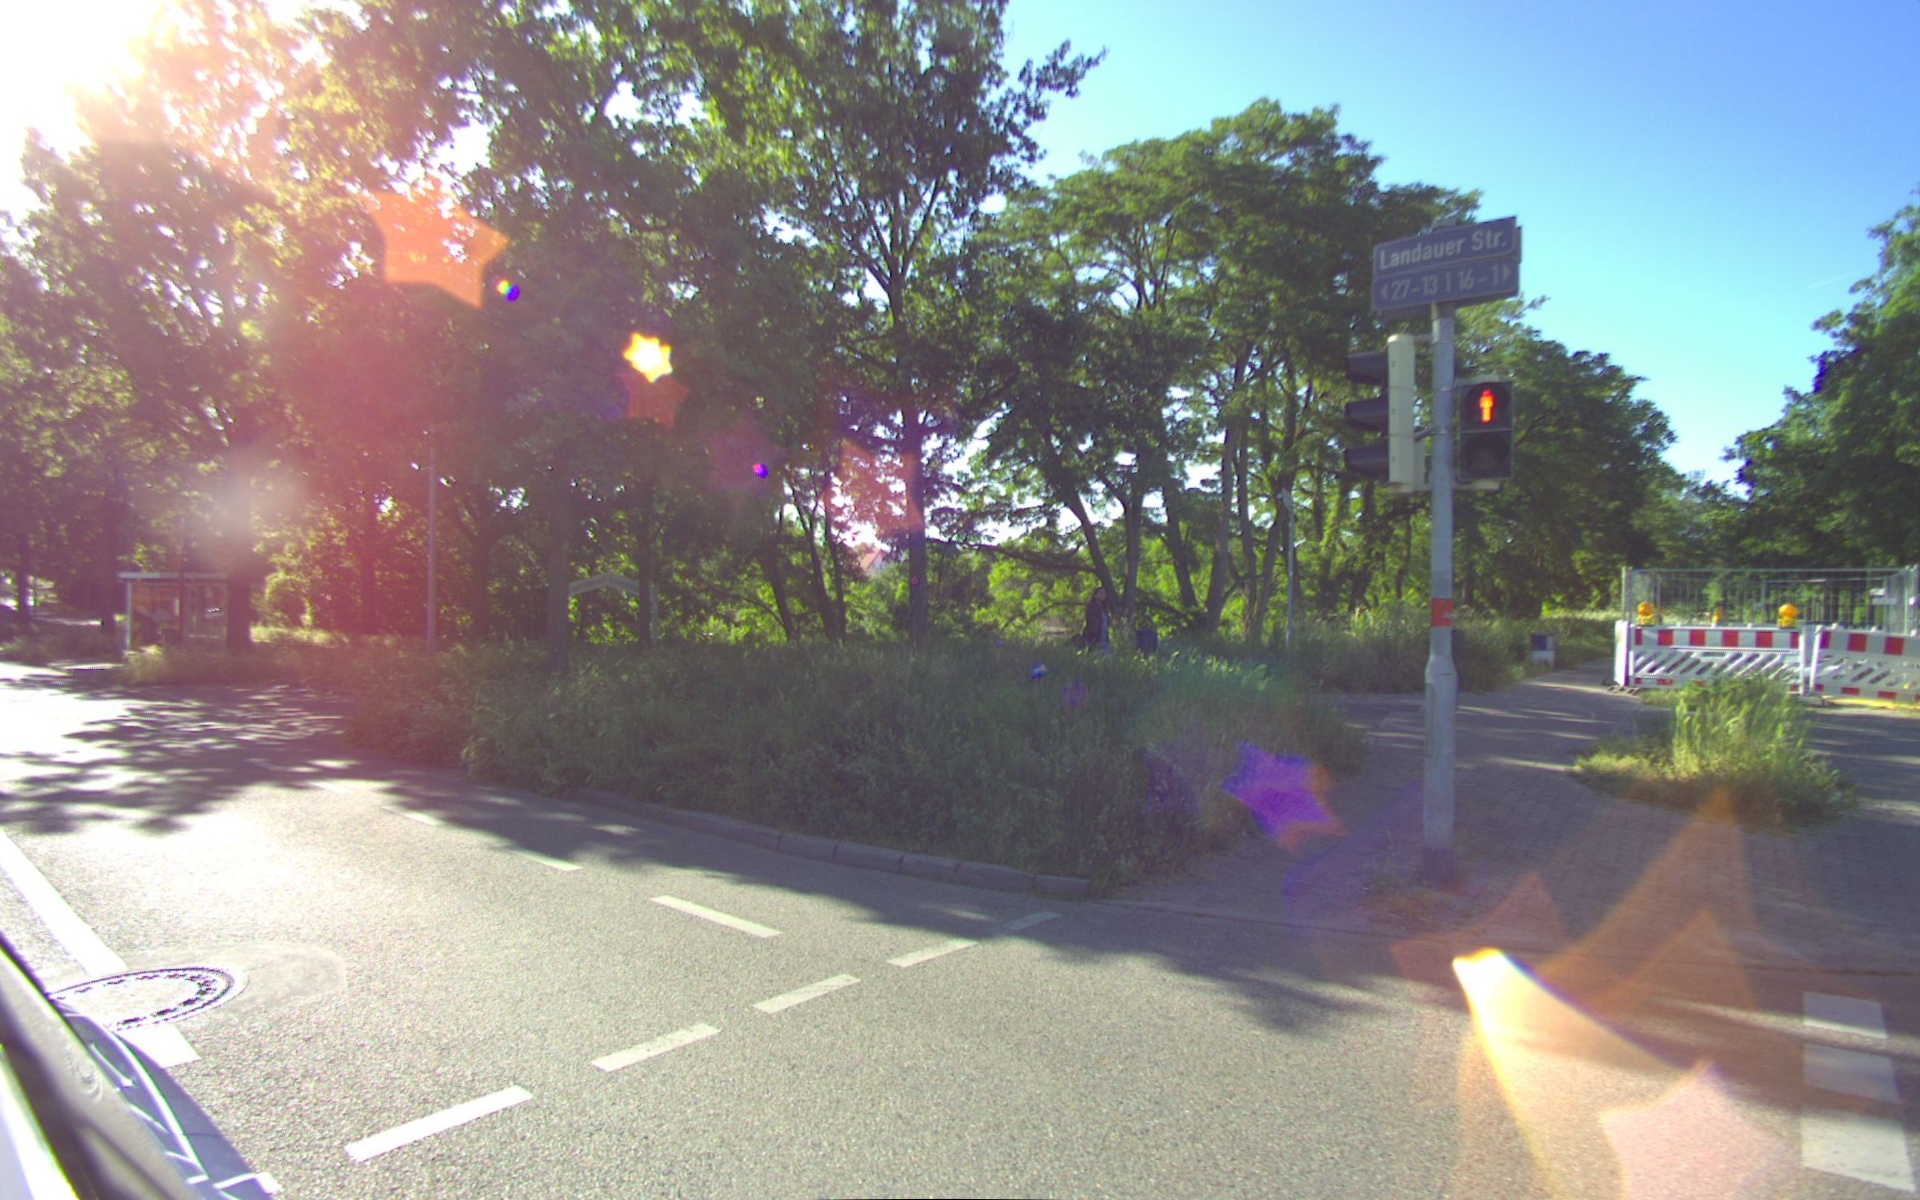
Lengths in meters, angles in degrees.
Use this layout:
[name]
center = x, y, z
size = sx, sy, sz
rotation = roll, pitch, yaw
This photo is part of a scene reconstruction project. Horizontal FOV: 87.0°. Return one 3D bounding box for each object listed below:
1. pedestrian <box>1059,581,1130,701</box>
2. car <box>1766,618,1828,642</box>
[pedestrian]
center = 1.915, 0.561, 14.361
size = 0.647, 1.646, 0.790
rotation = -1, 0, 41
[car]
center = 72.378, 2.579, 87.558
size = 3.994, 1.940, 1.975
rotation = -1, 1, 38
